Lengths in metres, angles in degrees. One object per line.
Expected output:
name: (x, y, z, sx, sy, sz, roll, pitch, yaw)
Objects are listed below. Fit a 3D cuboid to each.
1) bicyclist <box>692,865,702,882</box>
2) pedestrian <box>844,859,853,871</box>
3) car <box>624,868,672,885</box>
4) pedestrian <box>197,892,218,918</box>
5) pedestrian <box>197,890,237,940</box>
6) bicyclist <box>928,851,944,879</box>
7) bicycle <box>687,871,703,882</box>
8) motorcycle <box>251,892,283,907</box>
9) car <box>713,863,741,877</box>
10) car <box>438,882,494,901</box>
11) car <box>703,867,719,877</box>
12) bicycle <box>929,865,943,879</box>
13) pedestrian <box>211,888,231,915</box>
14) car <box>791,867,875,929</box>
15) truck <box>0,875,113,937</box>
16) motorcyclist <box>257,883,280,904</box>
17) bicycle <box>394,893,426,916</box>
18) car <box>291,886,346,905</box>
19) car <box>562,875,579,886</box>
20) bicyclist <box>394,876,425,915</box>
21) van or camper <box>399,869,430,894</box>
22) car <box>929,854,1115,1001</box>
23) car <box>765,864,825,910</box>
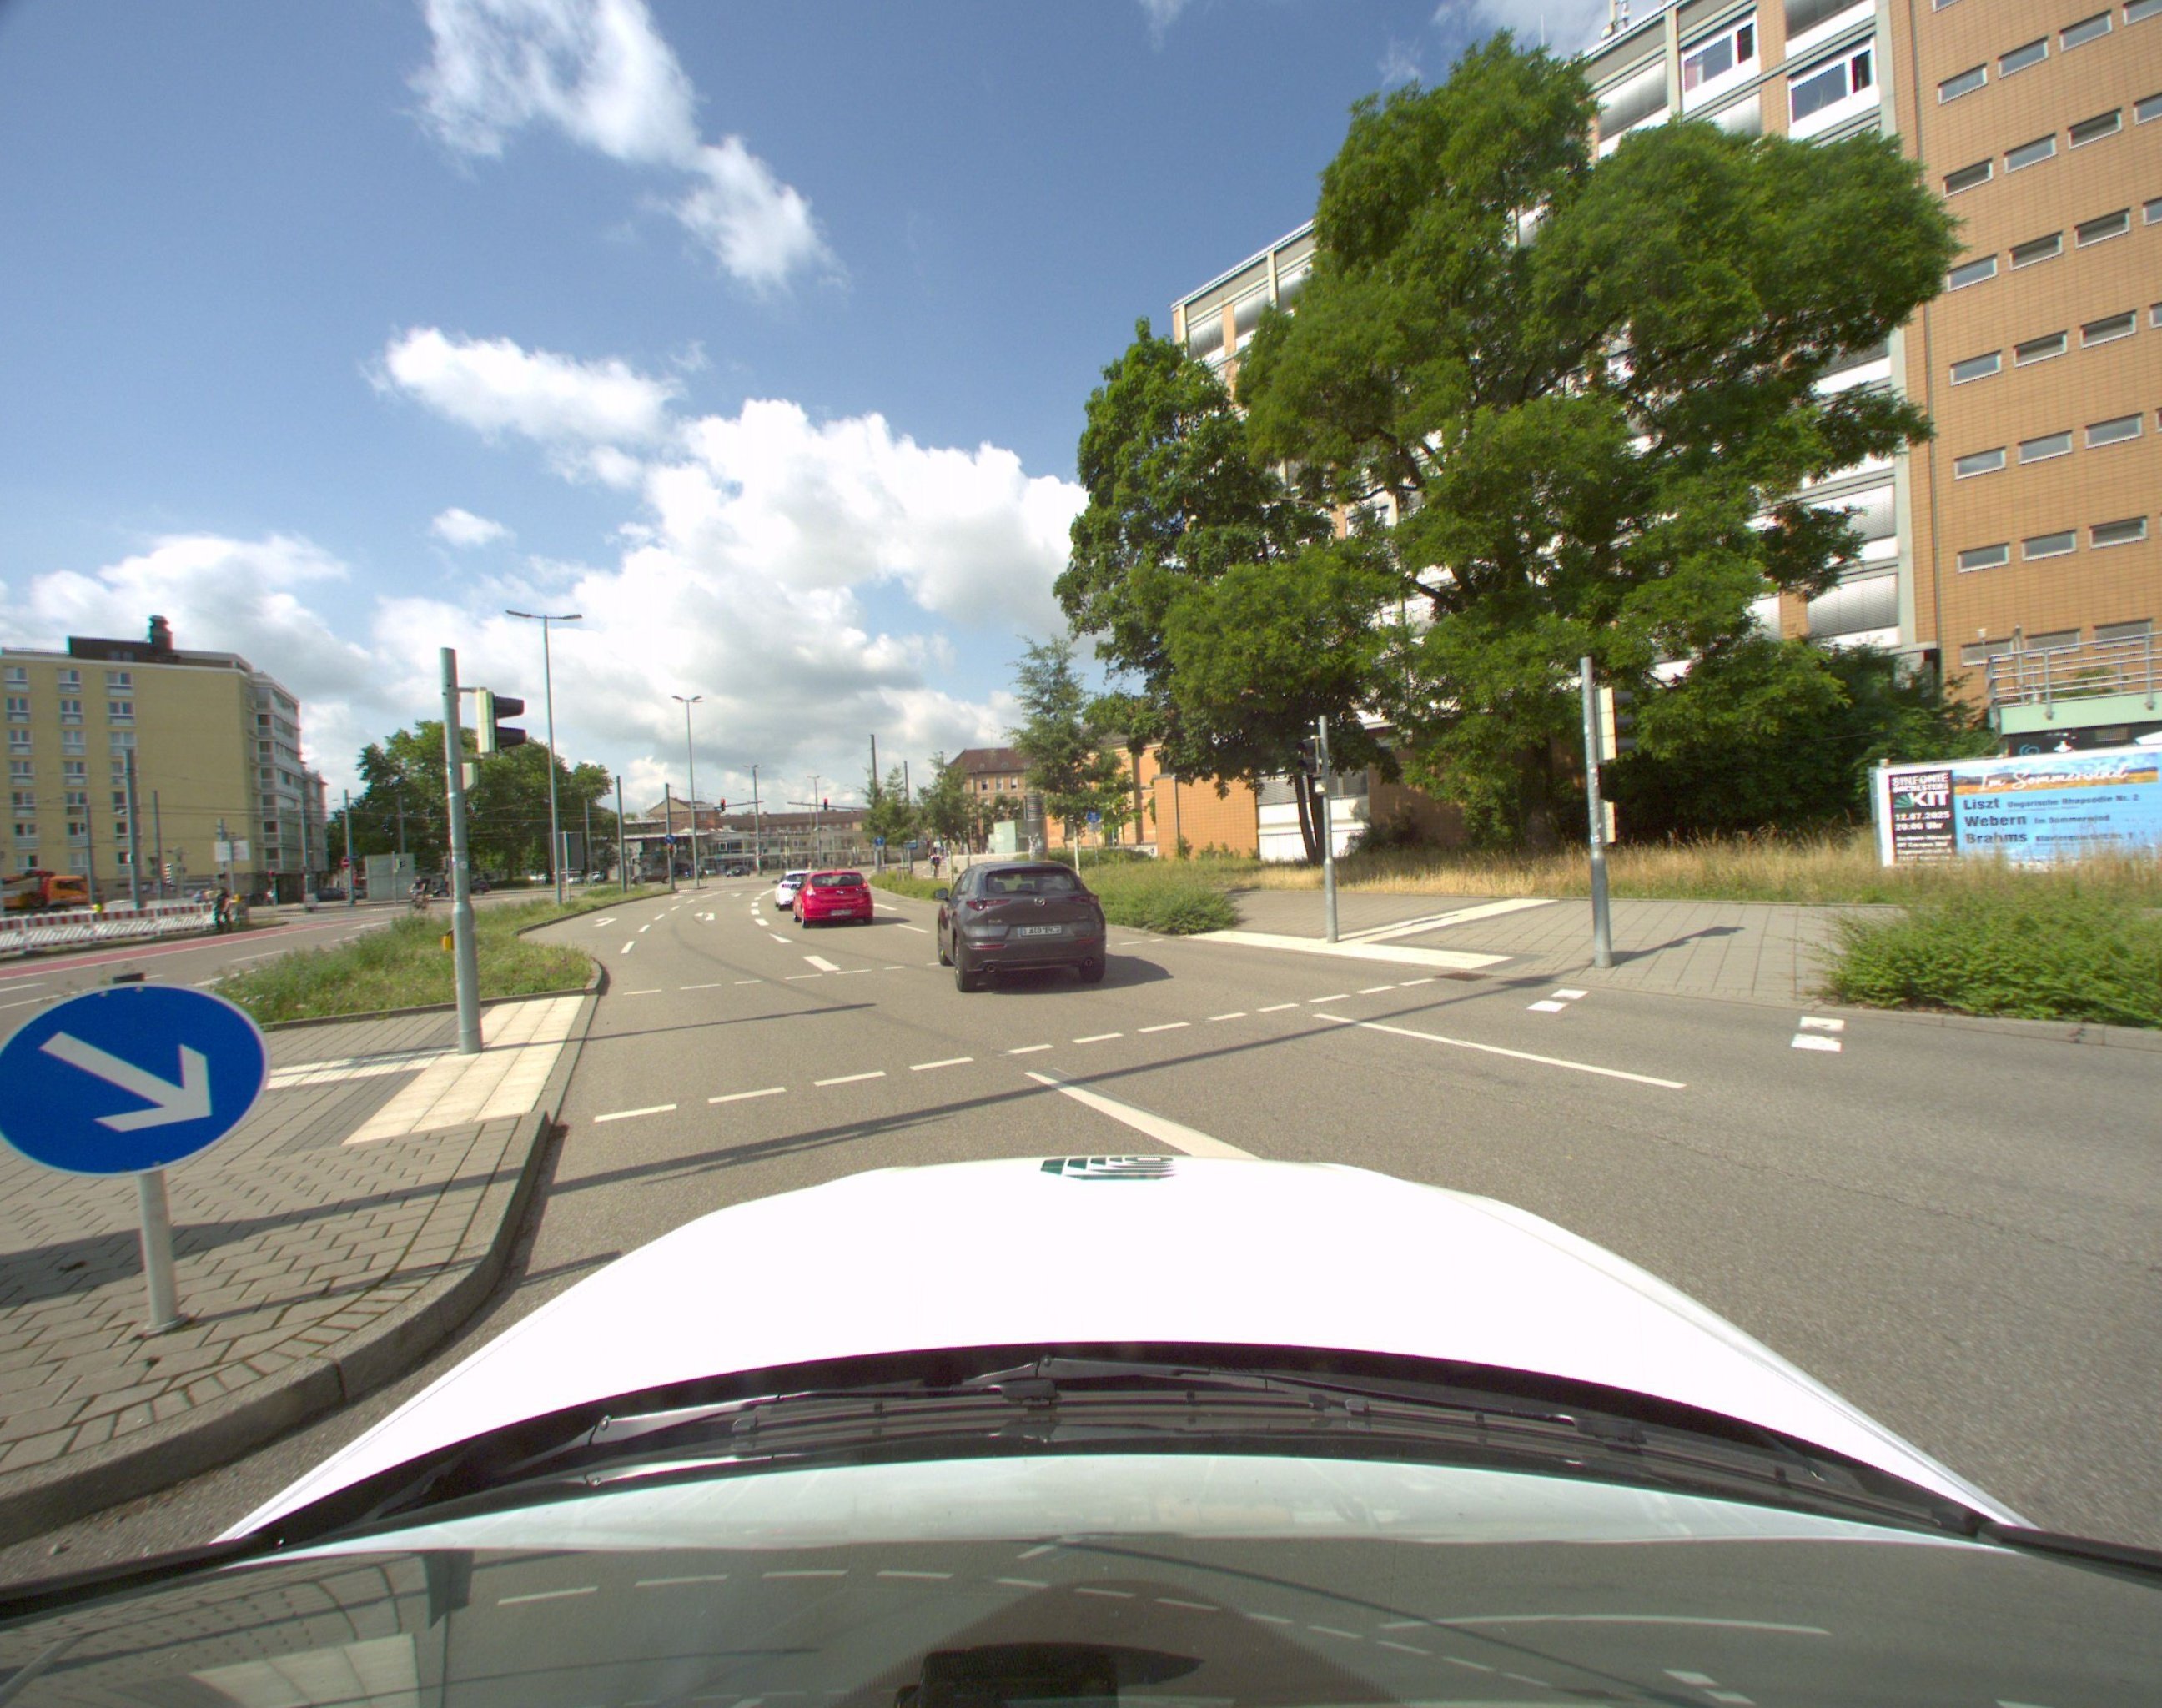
bicyclist: (-43.756, 2.179, 92.753, 0.892, 1.870, 0.756, -3, 0, -34)
pedestrian: (-30.633, 1.386, 107.300, 0.665, 1.535, 0.680, -3, 0, 31)
car: (-44.902, 2.361, 84.459, 4.099, 1.508, 1.794, -3, 0, -36)
pedestrian: (-63.885, 3.724, 59.579, 0.701, 1.860, 0.813, -3, 0, -20)
pedestrian: (-31.036, 2.175, 29.268, 0.739, 1.681, 0.636, -3, 0, -24)
bicyclist: (-9.111, 0.684, 51.160, 0.738, 1.702, 0.959, -5, 1, -18)
bicycle: (-43.896, 2.555, 92.654, 1.475, 1.117, 0.581, -3, 0, -34)
motorcycle: (-71.149, 3.987, 71.219, 0.782, 1.115, 2.422, -3, 0, -15)
car: (-46.995, 2.116, 108.200, 1.988, 1.530, 3.997, -3, 0, -2)
car: (-57.778, 3.522, 76.612, 4.099, 1.508, 1.794, -2, 0, -36)
car: (-64.489, 3.142, 141.808, 2.007, 1.596, 3.960, -3, 0, -31)
bicycle: (-9.146, 1.138, 51.301, 0.626, 0.810, 1.778, -5, 1, -17)
pedestrian: (-63.203, 3.495, 59.865, 0.652, 1.868, 0.776, -3, 0, -19)
car: (-6.794, 1.103, 22.057, 1.823, 1.439, 4.038, -2, 0, -21)
truck: (-72.831, 3.638, 55.766, 7.976, 3.855, 2.176, -3, 0, -36)
motorcyclist: (-71.225, 3.441, 71.382, 0.889, 1.781, 1.236, -3, 0, -15)
bicycle: (-33.281, 2.510, 40.441, 0.619, 1.002, 2.003, -3, 0, -22)
car: (-79.104, 4.318, 84.592, 4.021, 1.662, 1.976, -3, 0, -40)
car: (-84.324, 4.354, 134.479, 1.807, 1.769, 3.966, -3, 0, -25)
bicyclist: (-33.337, 2.048, 40.447, 0.814, 1.822, 1.151, -3, 0, -21)
van or camper: (-82.027, 3.390, 100.204, 2.604, 2.908, 6.025, -3, 0, -42)
car: (-1.008, 0.833, 11.064, 1.808, 1.508, 4.185, -2, -1, -14)
car: (-10.710, 1.171, 30.317, 1.856, 1.472, 4.303, -4, 1, -22)
